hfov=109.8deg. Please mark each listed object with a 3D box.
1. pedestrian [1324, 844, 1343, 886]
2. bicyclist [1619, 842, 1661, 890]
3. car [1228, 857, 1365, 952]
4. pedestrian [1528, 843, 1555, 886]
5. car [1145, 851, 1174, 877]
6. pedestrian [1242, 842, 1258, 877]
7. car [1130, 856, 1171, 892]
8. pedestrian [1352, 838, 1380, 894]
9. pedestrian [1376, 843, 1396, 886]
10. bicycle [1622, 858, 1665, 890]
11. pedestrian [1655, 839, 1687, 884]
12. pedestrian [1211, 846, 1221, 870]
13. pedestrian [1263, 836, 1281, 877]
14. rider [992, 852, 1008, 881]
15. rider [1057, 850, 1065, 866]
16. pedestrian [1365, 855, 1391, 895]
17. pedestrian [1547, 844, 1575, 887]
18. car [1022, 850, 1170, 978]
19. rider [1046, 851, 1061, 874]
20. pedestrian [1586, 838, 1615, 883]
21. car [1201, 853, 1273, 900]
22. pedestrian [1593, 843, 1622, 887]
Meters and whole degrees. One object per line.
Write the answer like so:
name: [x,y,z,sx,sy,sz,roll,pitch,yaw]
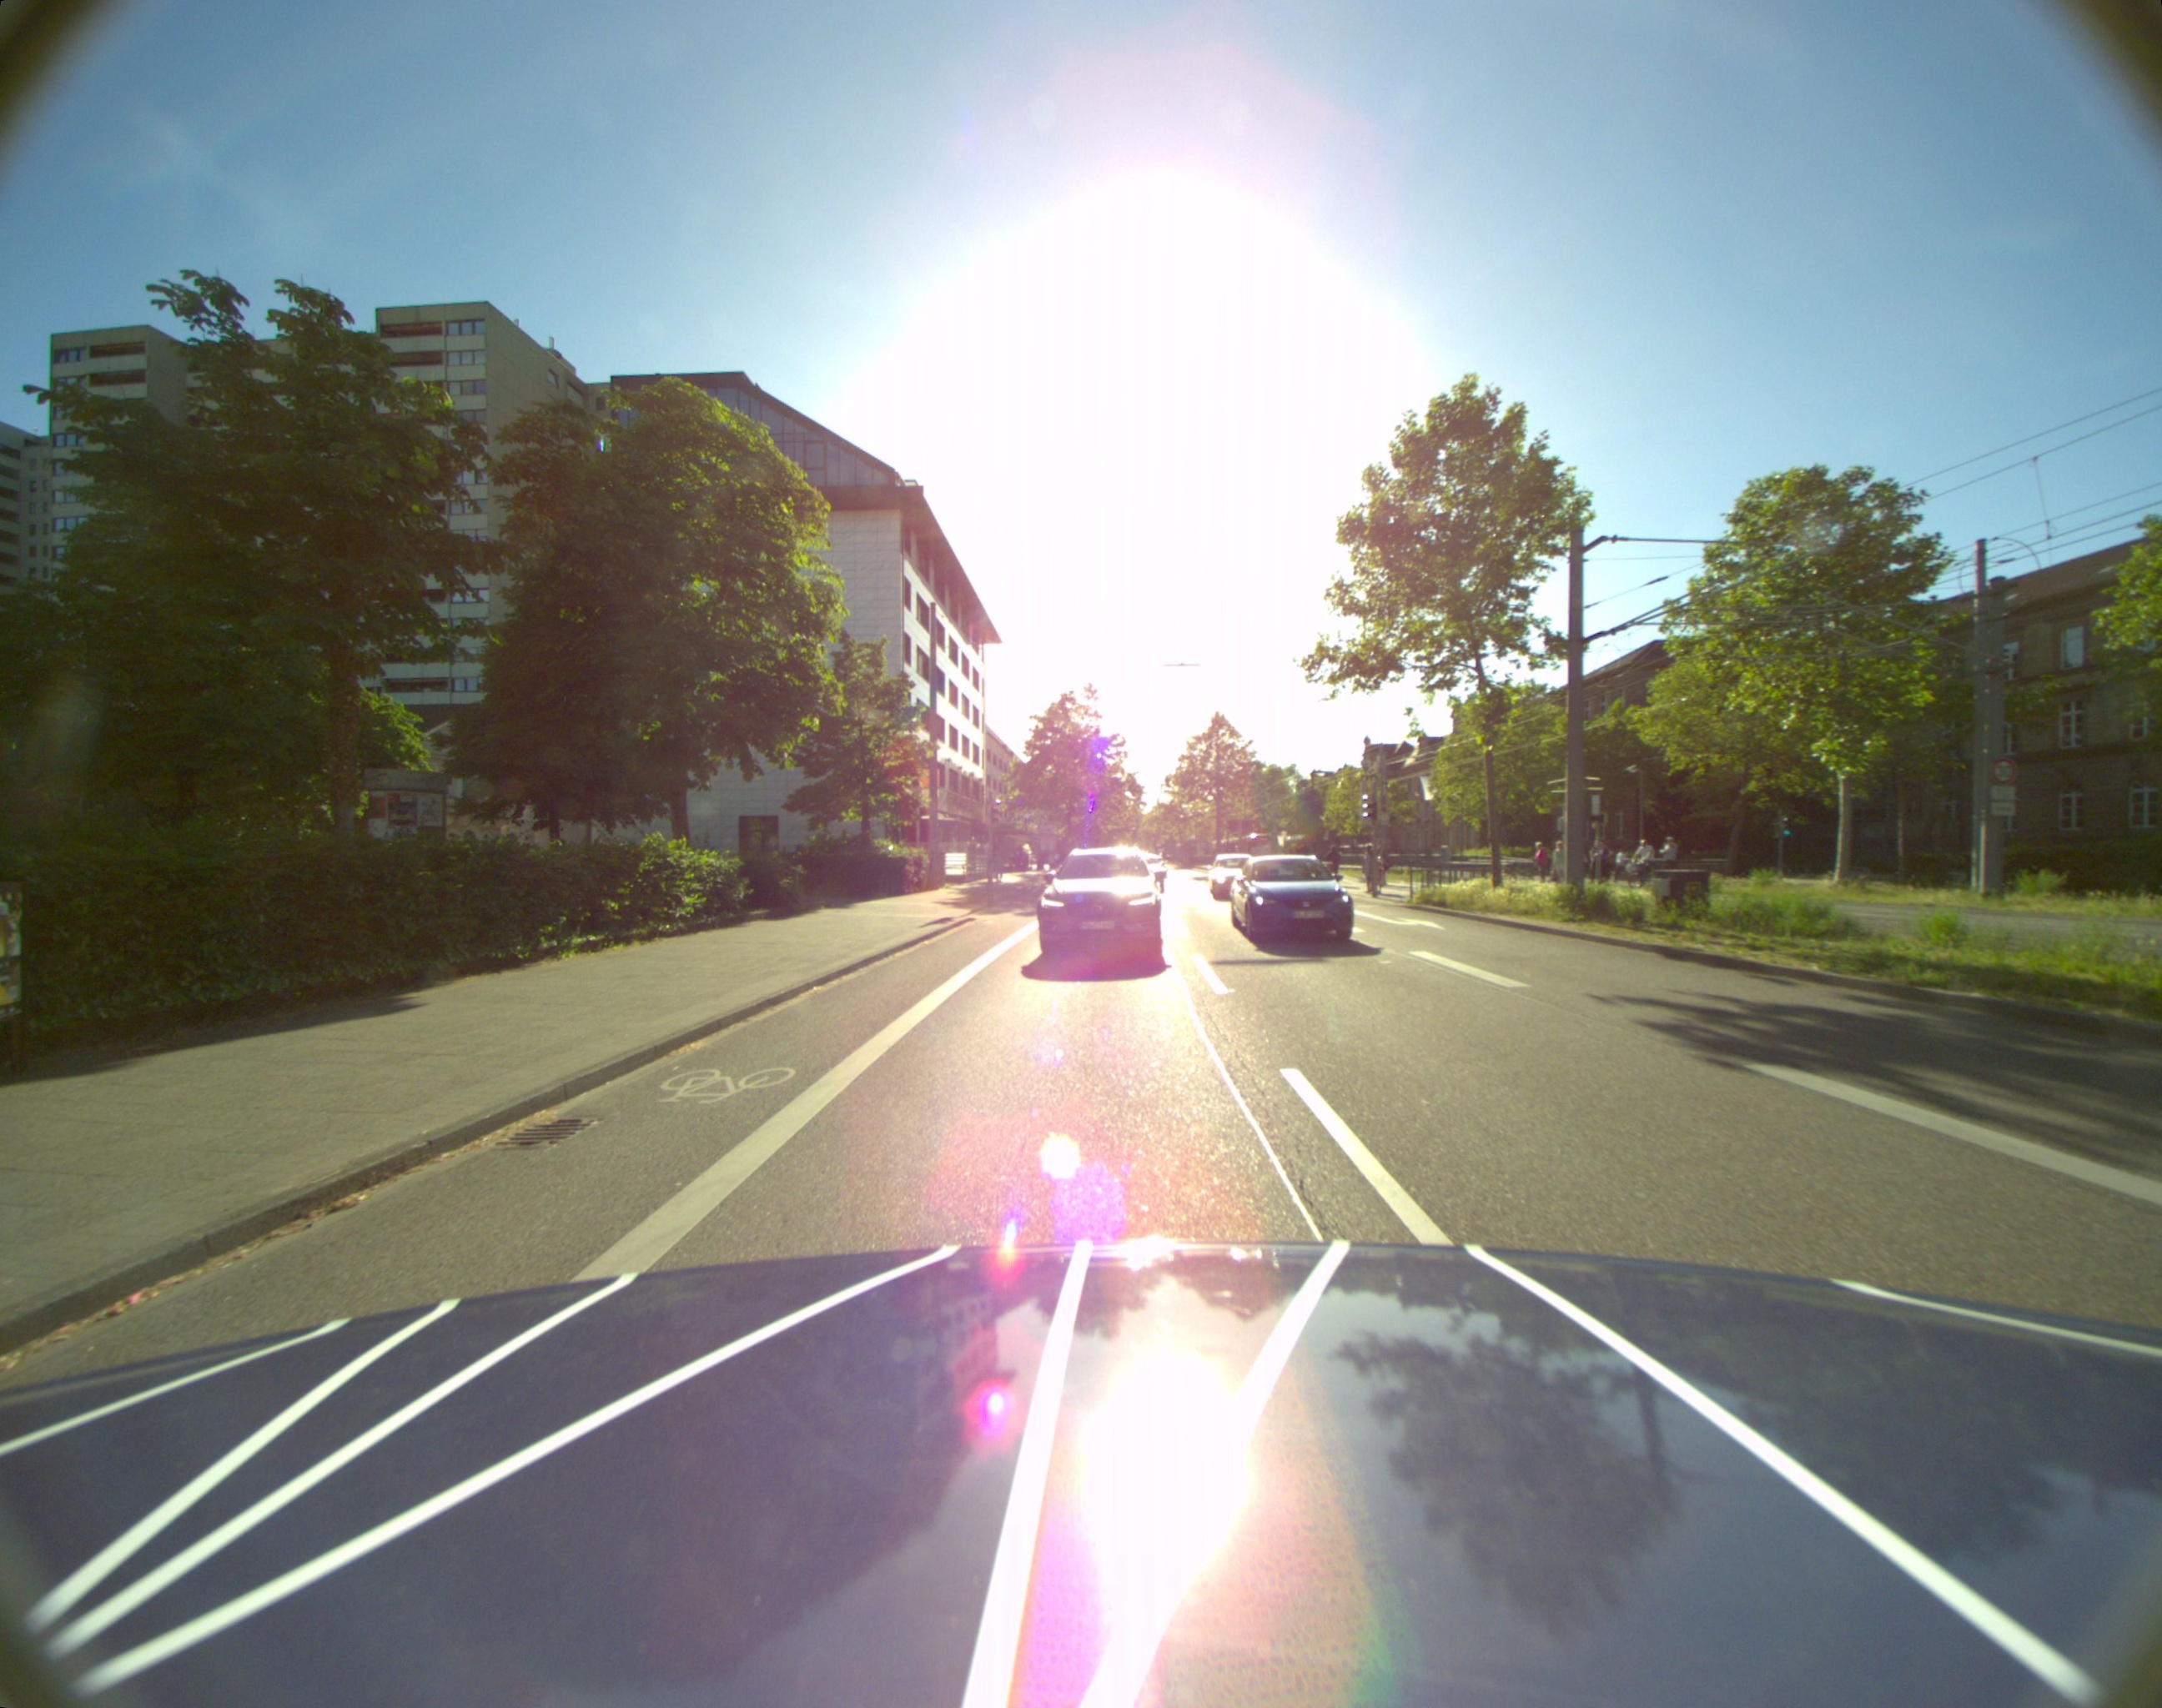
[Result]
pedestrian: [10.162,0.448,30.566,0.580,1.652,0.667,-2,1,11]
bicyclist: [19.466,0.410,26.452,0.970,1.634,0.833,-3,1,-30]
car: [3.808,0.817,14.070,1.777,1.439,3.870,-2,0,6]
pedestrian: [19.156,0.431,31.611,0.595,1.735,0.698,-3,1,-30]
car: [5.343,0.636,51.432,1.774,1.567,3.825,-2,0,8]
pedestrian: [9.710,0.313,43.765,0.711,2.002,0.787,-2,1,4]
car: [2.853,0.774,31.643,1.604,1.386,4.001,0,0,4]
pedestrian: [9.355,0.399,24.979,0.647,1.796,0.504,-2,1,-7]
pedestrian: [12.115,0.409,30.180,0.544,1.652,0.730,-2,1,7]
bicycle: [19.567,0.694,26.429,1.666,1.035,0.543,-2,1,-29]
pedestrian: [21.572,0.261,27.788,0.595,1.612,0.698,-3,1,-30]
pedestrian: [11.902,0.341,67.035,0.714,2.103,0.787,-2,1,7]
pedestrian: [10.450,0.129,41.549,0.785,2.175,0.801,-2,1,23]
rider: [-4.482,0.670,42.063,0.779,1.582,0.790,0,1,-1]
rider: [-2.234,0.465,85.535,0.759,1.717,0.895,-2,1,1]
pedestrian: [9.554,0.670,24.441,0.594,1.226,0.425,-2,1,-7]
pedestrian: [19.116,0.454,30.267,0.595,1.667,0.698,-3,1,-30]
car: [0.269,0.791,12.782,1.949,1.690,5.306,-1,0,1]
rider: [-2.047,0.598,56.769,0.924,1.668,0.977,-2,1,3]
pedestrian: [20.486,0.261,29.972,0.595,1.726,0.698,-3,1,-30]
car: [5.281,0.710,26.188,1.798,1.420,4.000,-2,0,3]
pedestrian: [19.895,0.416,28.699,0.595,1.634,0.698,-3,1,-33]
